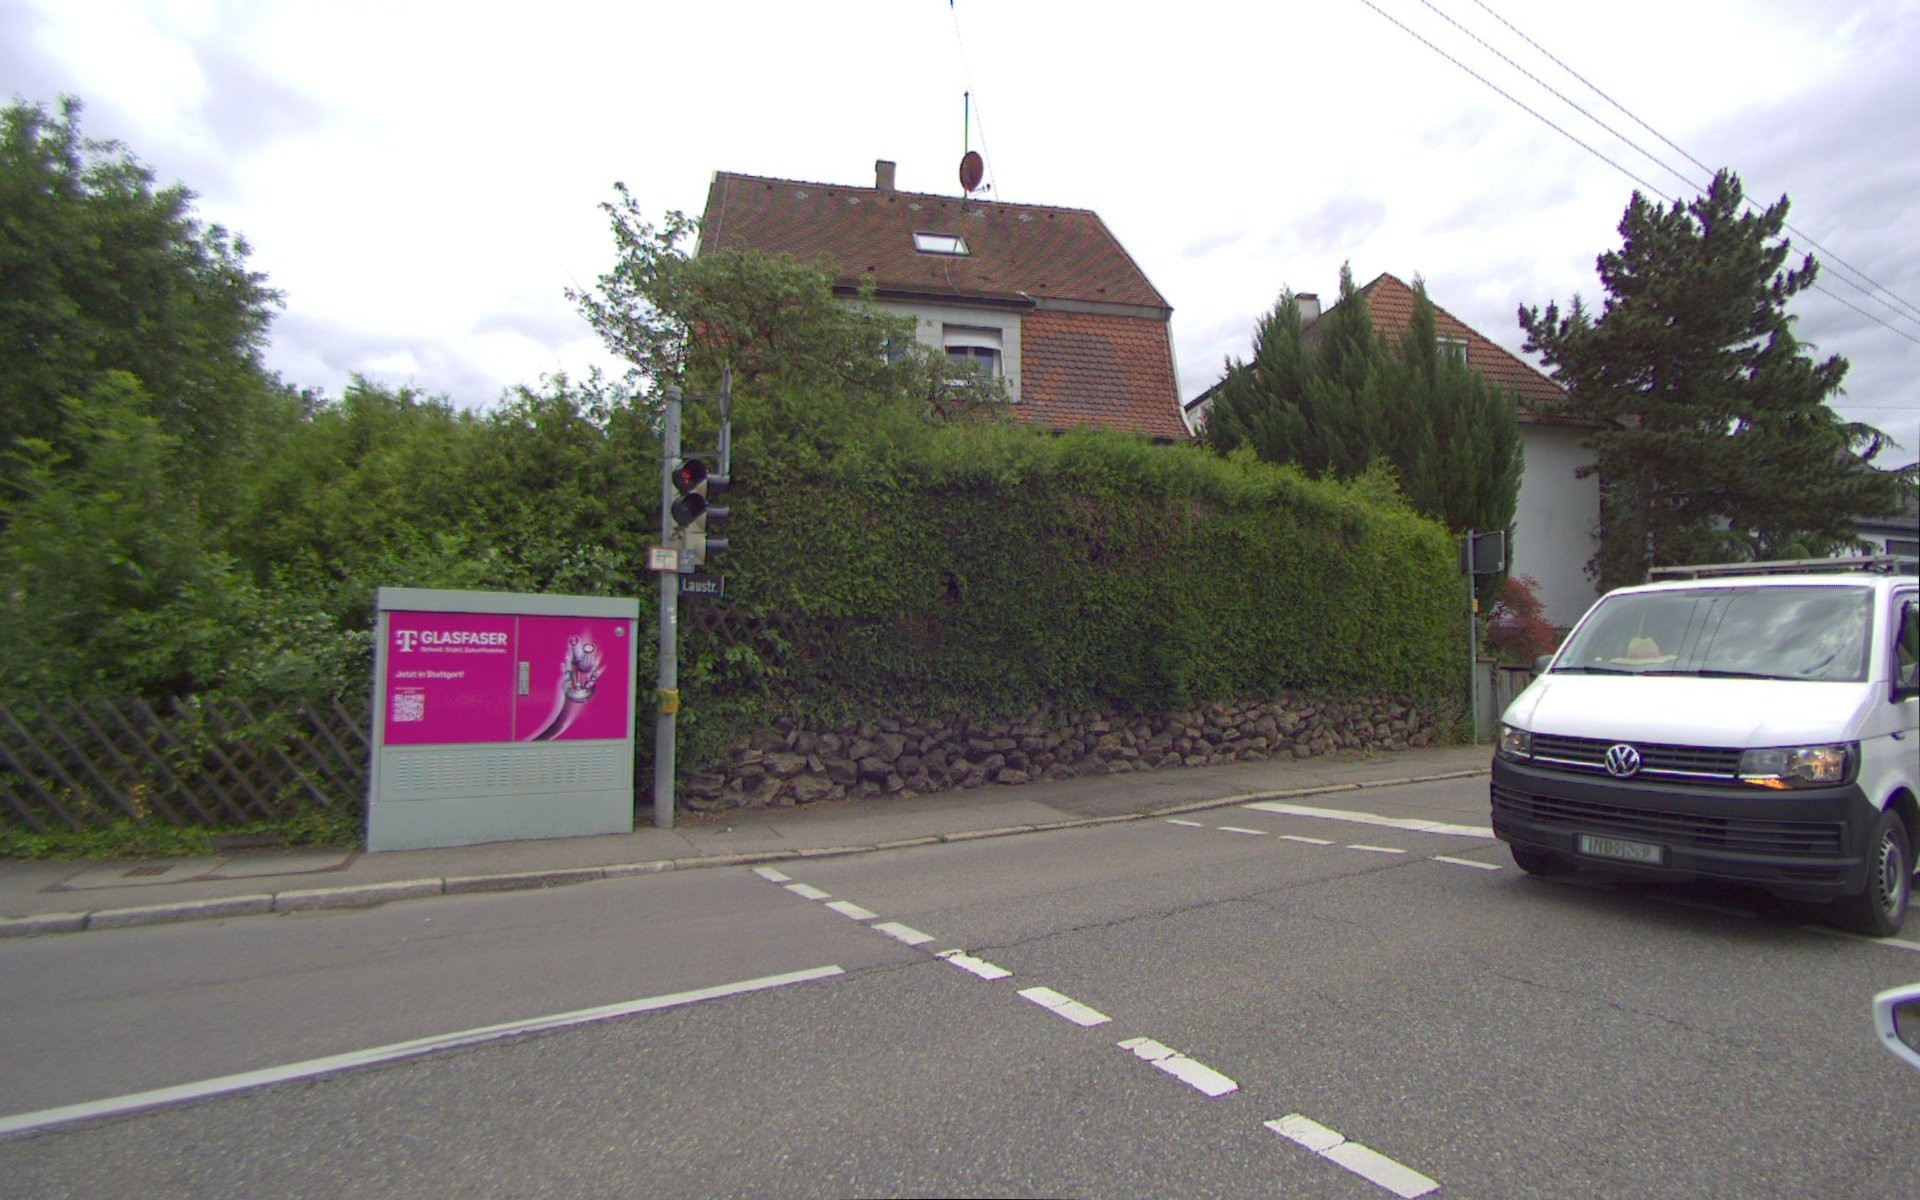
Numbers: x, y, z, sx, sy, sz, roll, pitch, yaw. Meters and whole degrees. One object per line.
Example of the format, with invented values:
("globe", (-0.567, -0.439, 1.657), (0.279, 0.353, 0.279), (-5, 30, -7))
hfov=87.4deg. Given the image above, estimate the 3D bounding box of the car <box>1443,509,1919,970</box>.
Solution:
("car", (5.576, 0.747, 6.752), (5.118, 2.074, 1.847), (2, -4, -34))
